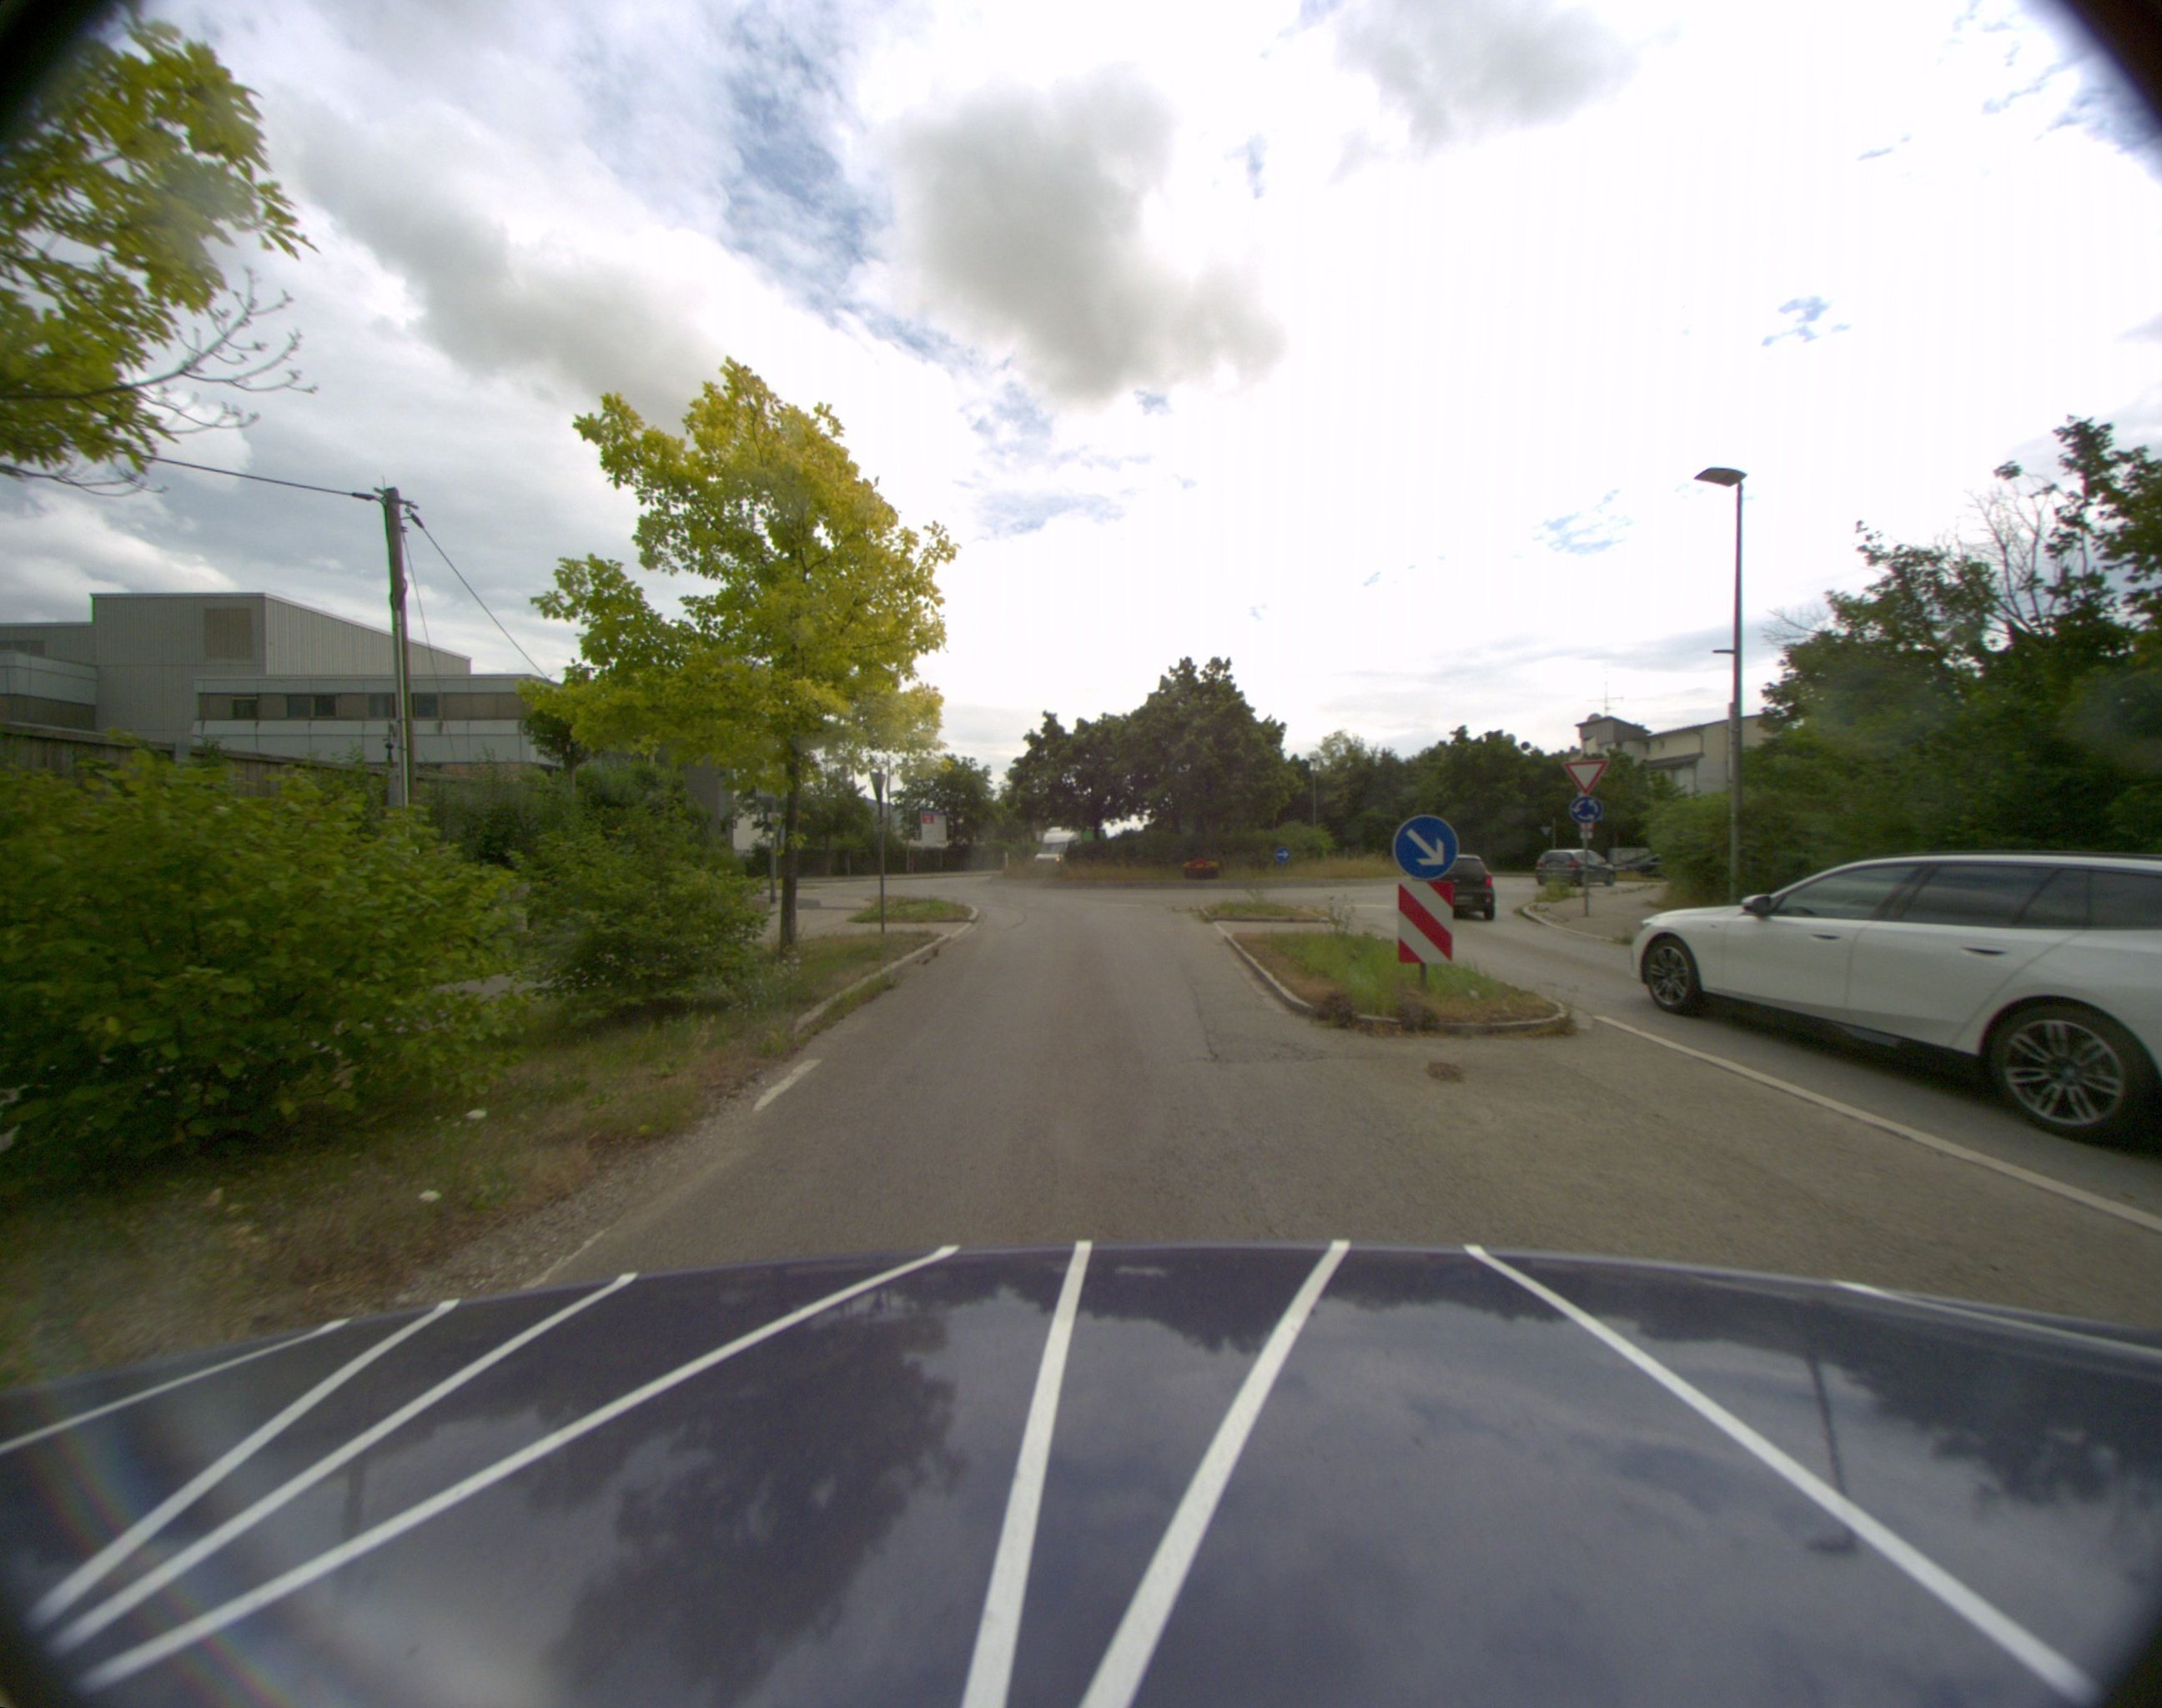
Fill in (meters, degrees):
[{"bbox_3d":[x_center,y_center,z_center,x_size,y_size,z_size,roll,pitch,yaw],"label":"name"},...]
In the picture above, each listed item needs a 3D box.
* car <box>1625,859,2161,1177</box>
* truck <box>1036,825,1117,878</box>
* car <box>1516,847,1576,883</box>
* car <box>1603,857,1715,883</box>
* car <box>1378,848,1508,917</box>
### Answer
[{"bbox_3d":[6.247,0.789,4.927,2.217,1.445,4.945,1,0,6],"label":"car"},{"bbox_3d":[-0.158,-0.226,53.843,2.610,3.428,7.519,-2,1,25],"label":"truck"},{"bbox_3d":[19.470,0.422,31.738,1.682,1.414,4.008,0,1,38],"label":"car"},{"bbox_3d":[31.592,0.861,41.614,4.823,1.283,1.558,-1,1,4],"label":"car"},{"bbox_3d":[8.531,0.606,18.278,1.685,1.446,4.003,1,0,8],"label":"car"}]
